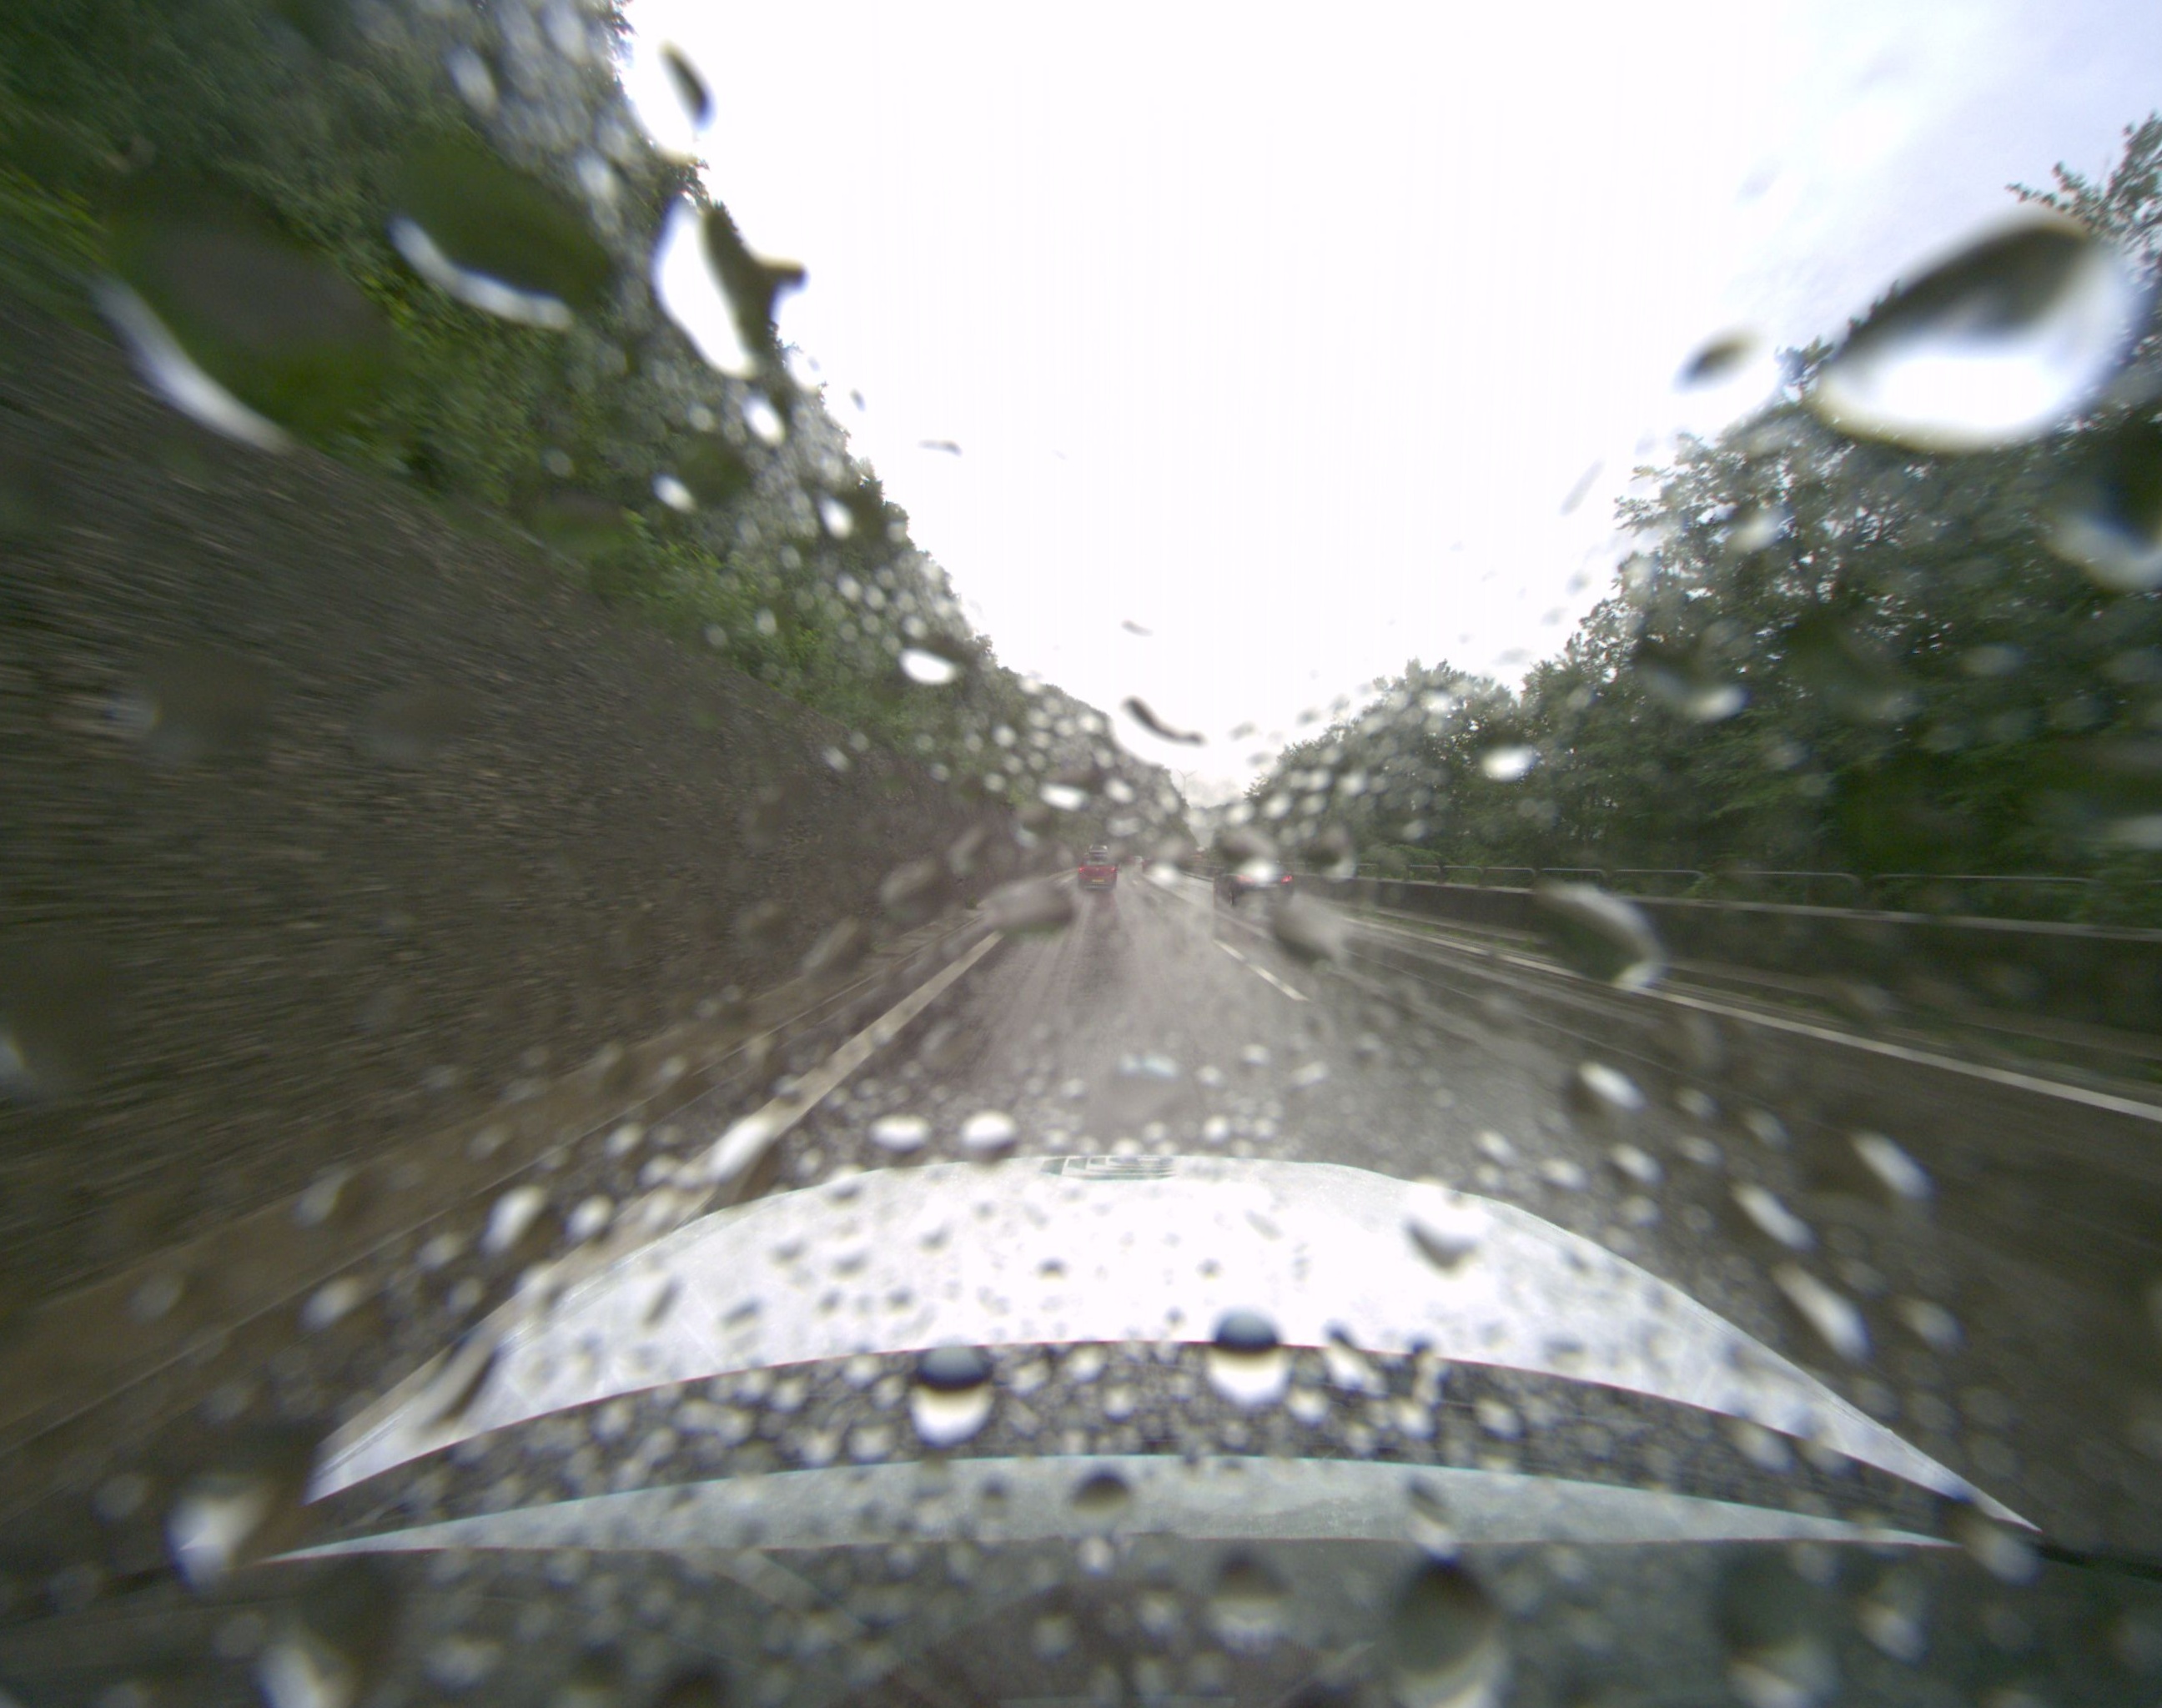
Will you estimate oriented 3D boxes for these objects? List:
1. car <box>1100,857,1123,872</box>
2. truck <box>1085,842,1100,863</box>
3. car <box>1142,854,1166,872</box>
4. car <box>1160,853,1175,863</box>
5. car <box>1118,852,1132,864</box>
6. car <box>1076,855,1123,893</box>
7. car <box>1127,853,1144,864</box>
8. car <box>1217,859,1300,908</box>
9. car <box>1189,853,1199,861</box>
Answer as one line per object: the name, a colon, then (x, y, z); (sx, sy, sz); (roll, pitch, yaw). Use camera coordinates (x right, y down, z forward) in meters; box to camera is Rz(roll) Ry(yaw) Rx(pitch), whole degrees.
car: (2.713, 0.910, 73.683); (1.986, 1.354, 4.001); (0, 0, 1)
truck: (1.529, -0.184, 106.746); (1.986, 2.751, 5.588); (-1, 0, 1)
car: (6.692, 0.818, 75.287); (1.985, 1.552, 4.003); (-2, 0, 3)
car: (15.944, 0.726, 149.999); (1.810, 1.719, 4.018); (-3, -2, 18)
car: (6.412, 0.582, 117.910); (1.858, 1.684, 4.007); (-1, 0, 6)
car: (0.827, 0.885, 37.211); (1.987, 1.552, 3.999); (-2, -1, 0)
car: (9.095, 0.751, 136.221); (1.853, 1.695, 4.017); (-3, -2, 16)
car: (5.220, 0.833, 24.386); (1.793, 1.307, 4.003); (-1, 0, 3)
car: (28.301, 0.826, 203.112); (2.435, 2.013, 4.747); (0, 0, 8)
